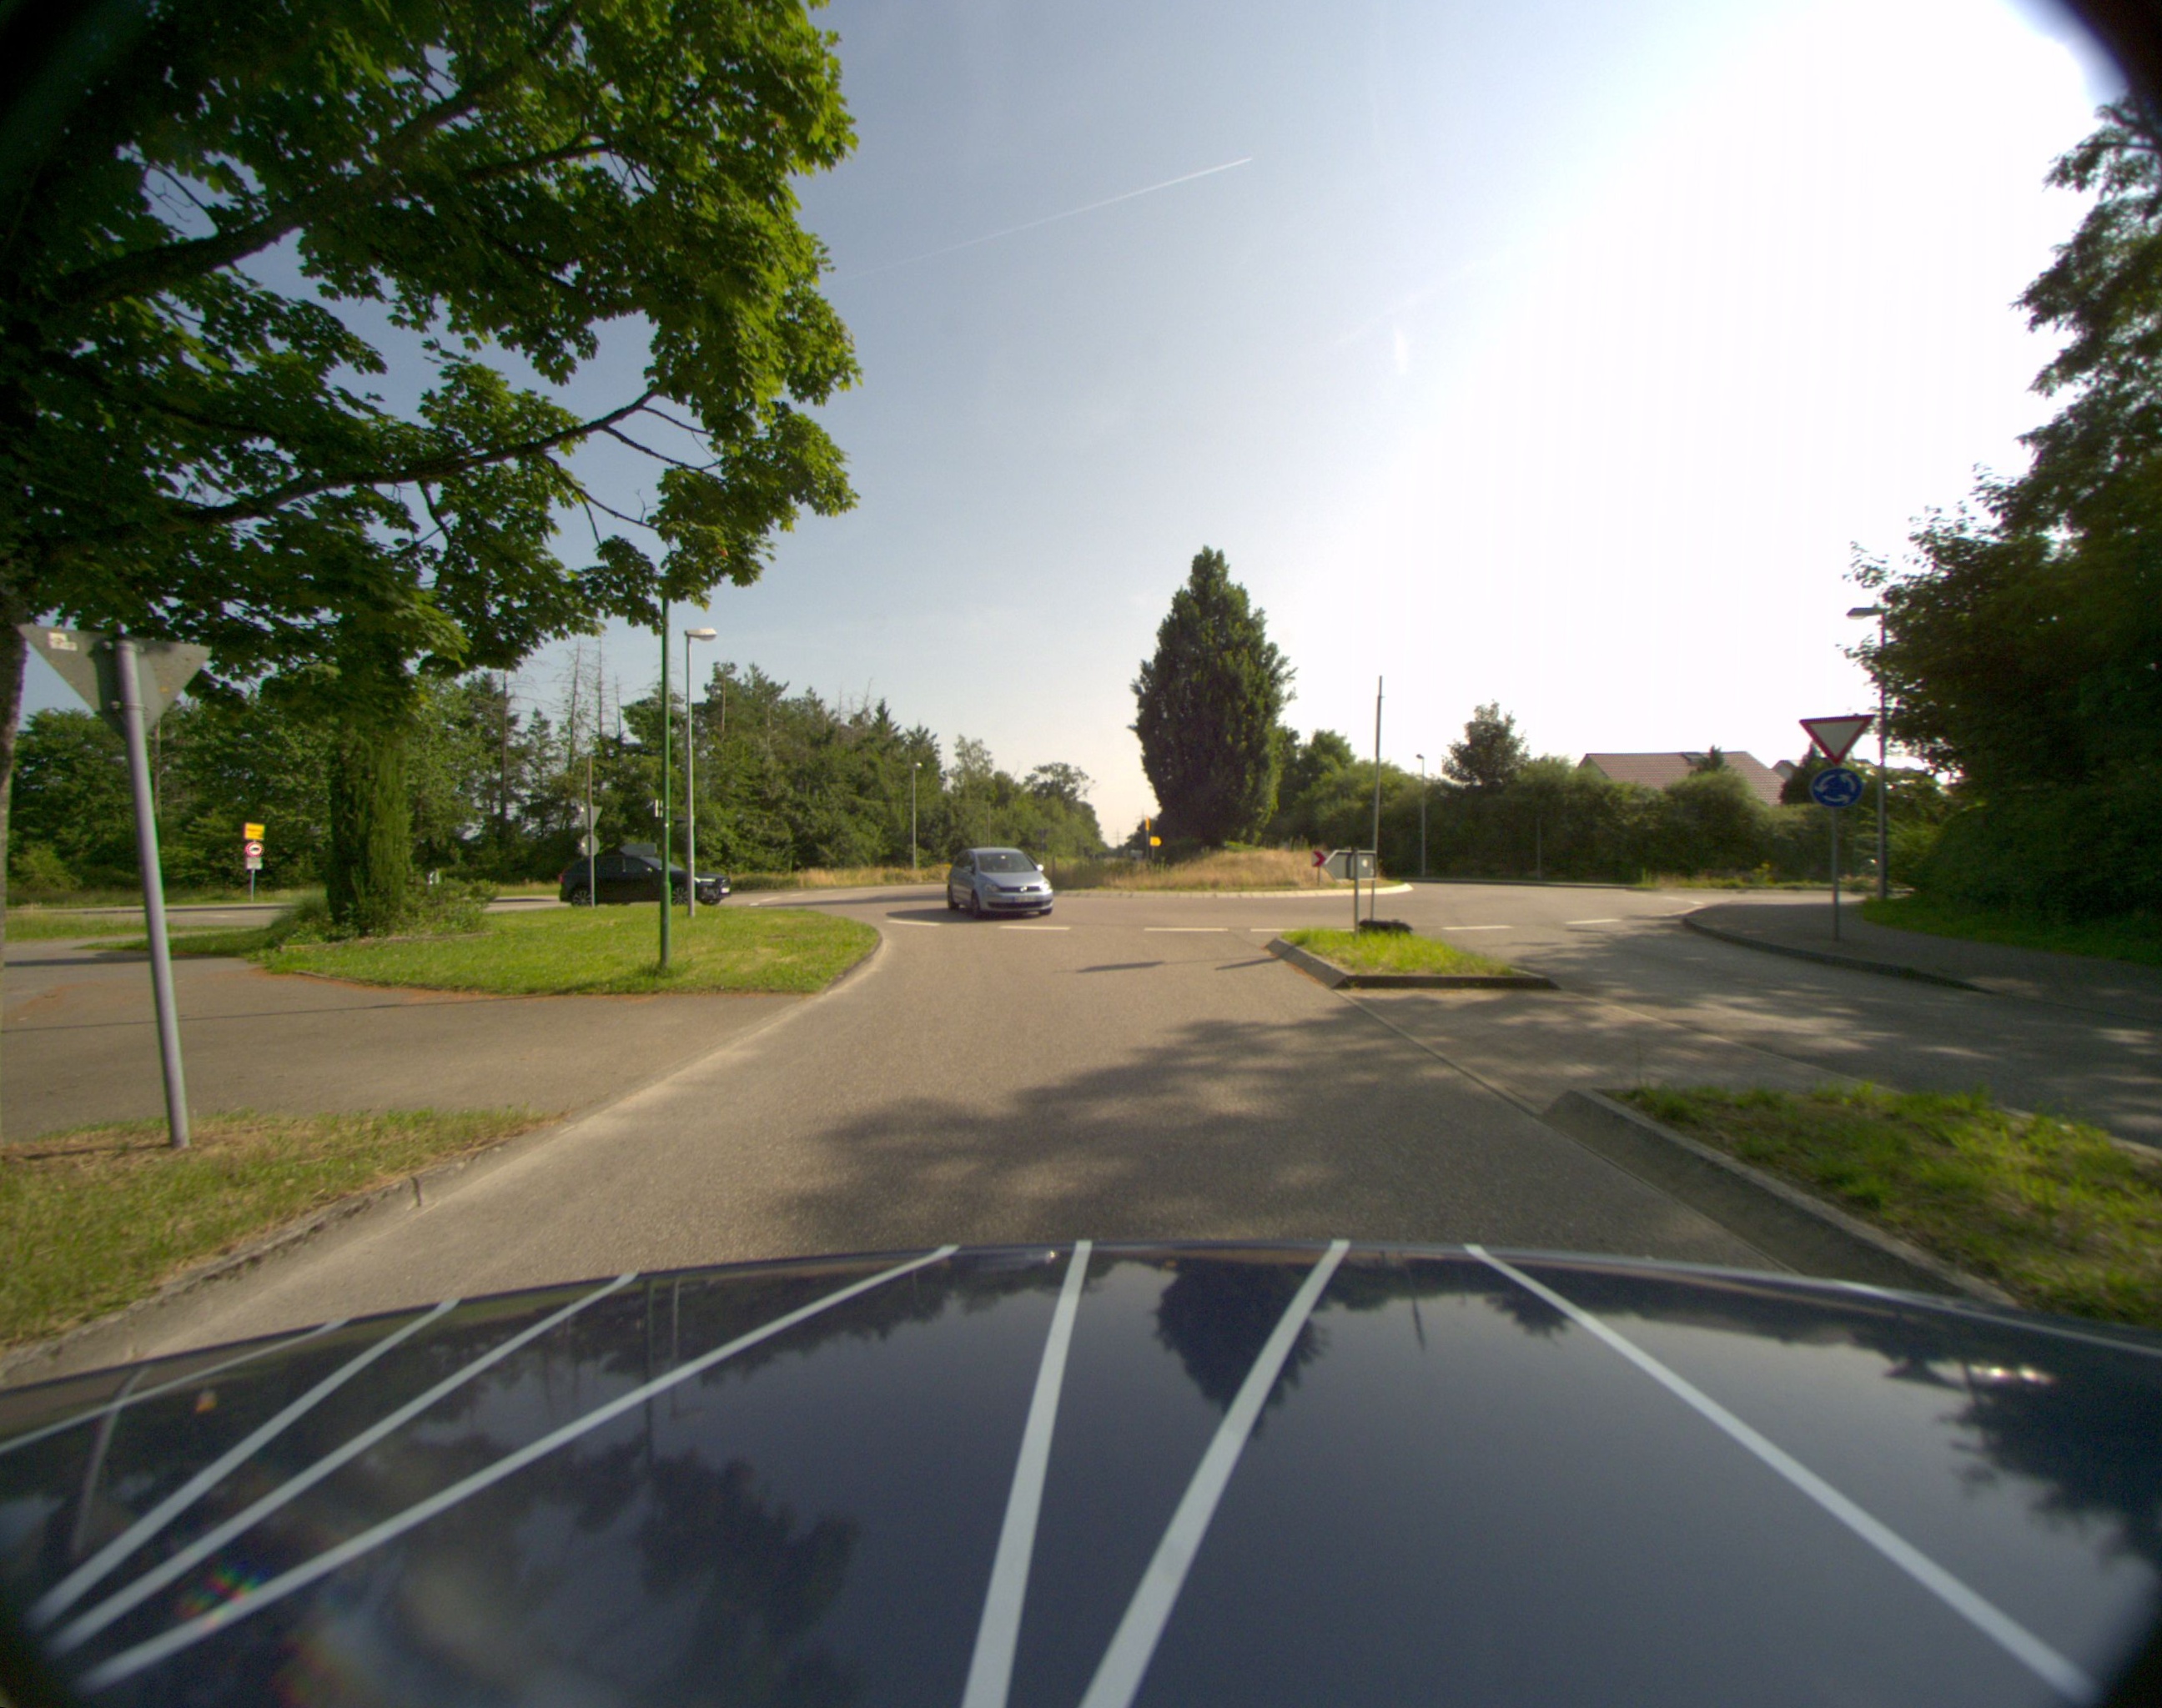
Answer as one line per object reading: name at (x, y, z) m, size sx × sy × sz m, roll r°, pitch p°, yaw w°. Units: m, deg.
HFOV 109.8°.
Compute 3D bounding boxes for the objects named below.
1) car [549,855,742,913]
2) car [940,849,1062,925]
car at (-12.973, 0.855, 22.865) m, size 4.619 × 1.592 × 1.952 m, roll -1°, pitch 1°, yaw -3°
car at (-2.065, 0.689, 18.347) m, size 1.812 × 1.592 × 4.261 m, roll -1°, pitch 0°, yaw -22°
